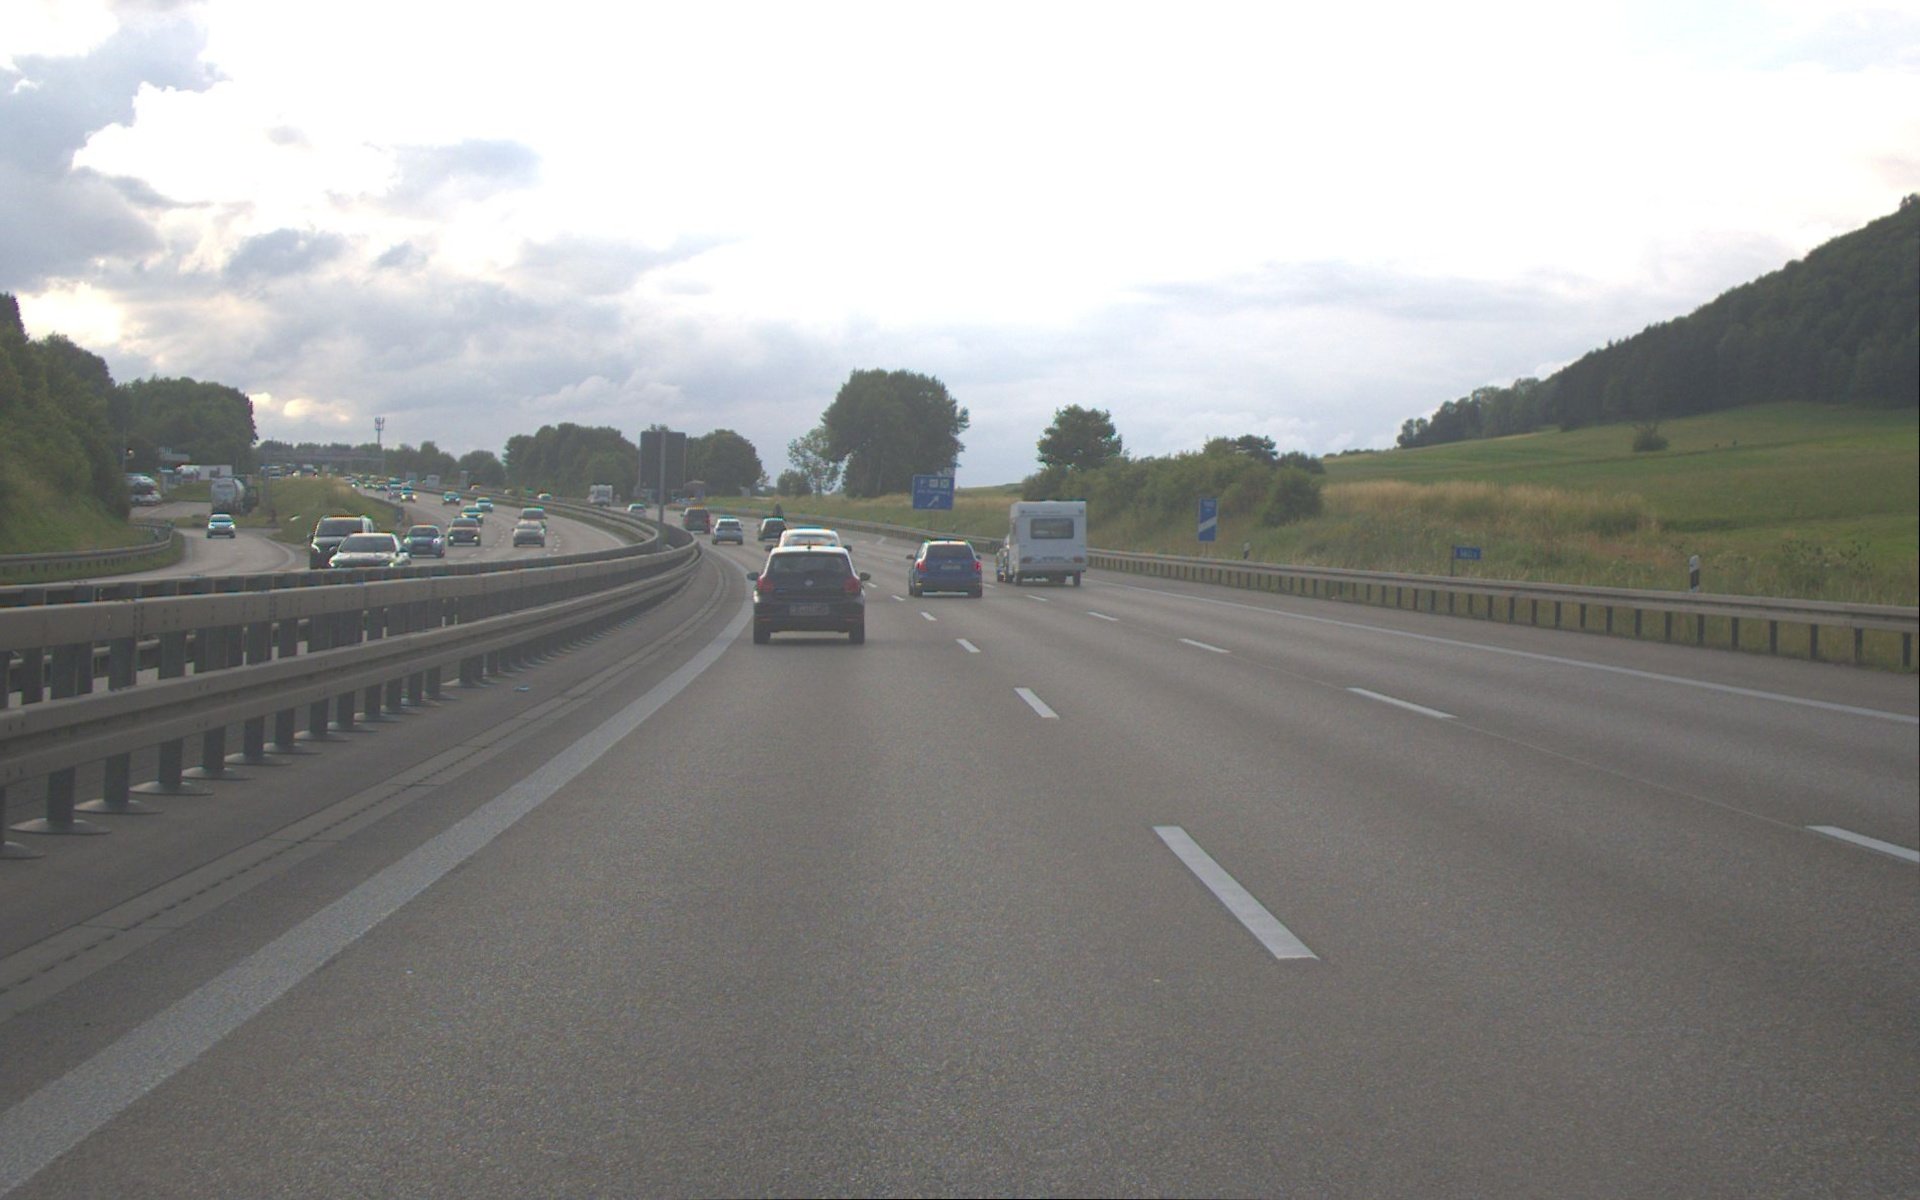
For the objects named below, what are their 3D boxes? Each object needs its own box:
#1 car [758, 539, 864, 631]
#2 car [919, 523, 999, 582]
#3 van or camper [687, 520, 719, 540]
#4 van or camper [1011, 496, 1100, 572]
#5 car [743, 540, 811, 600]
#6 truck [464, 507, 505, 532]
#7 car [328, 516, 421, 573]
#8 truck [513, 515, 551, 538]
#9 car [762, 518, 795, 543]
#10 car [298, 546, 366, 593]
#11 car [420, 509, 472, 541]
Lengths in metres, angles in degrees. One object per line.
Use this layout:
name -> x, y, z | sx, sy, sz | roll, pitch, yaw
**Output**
car -> -2.233, -0.253, 52.002 | 1.538, 1.343, 3.677 | 0, 1, -2
car -> -0.050, -1.219, 87.917 | 1.766, 1.428, 4.001 | 2, 1, -3
van or camper -> -18.765, -5.112, 251.367 | 1.966, 1.428, 4.000 | 1, 1, 2
van or camper -> 2.849, -1.989, 103.920 | 2.548, 2.231, 5.329 | 0, 1, 0
car -> -4.292, -0.725, 80.682 | 1.565, 1.375, 4.001 | 0, 1, -3
truck -> -26.738, -4.558, 193.527 | 1.993, 1.349, 3.947 | -1, 2, -4
car -> -15.371, -1.455, 90.415 | 1.993, 1.425, 4.588 | 1, 1, -4
truck -> -23.775, -4.099, 190.810 | 1.993, 1.218, 4.001 | -2, 2, -8
car -> -11.784, -4.521, 223.360 | 1.957, 1.568, 4.000 | 0, 1, 0
car -> -21.741, -1.053, 119.068 | 1.776, 1.590, 4.000 | 0, 1, -2
car -> -23.362, -3.424, 156.434 | 1.993, 1.349, 4.356 | -1, 2, -4
